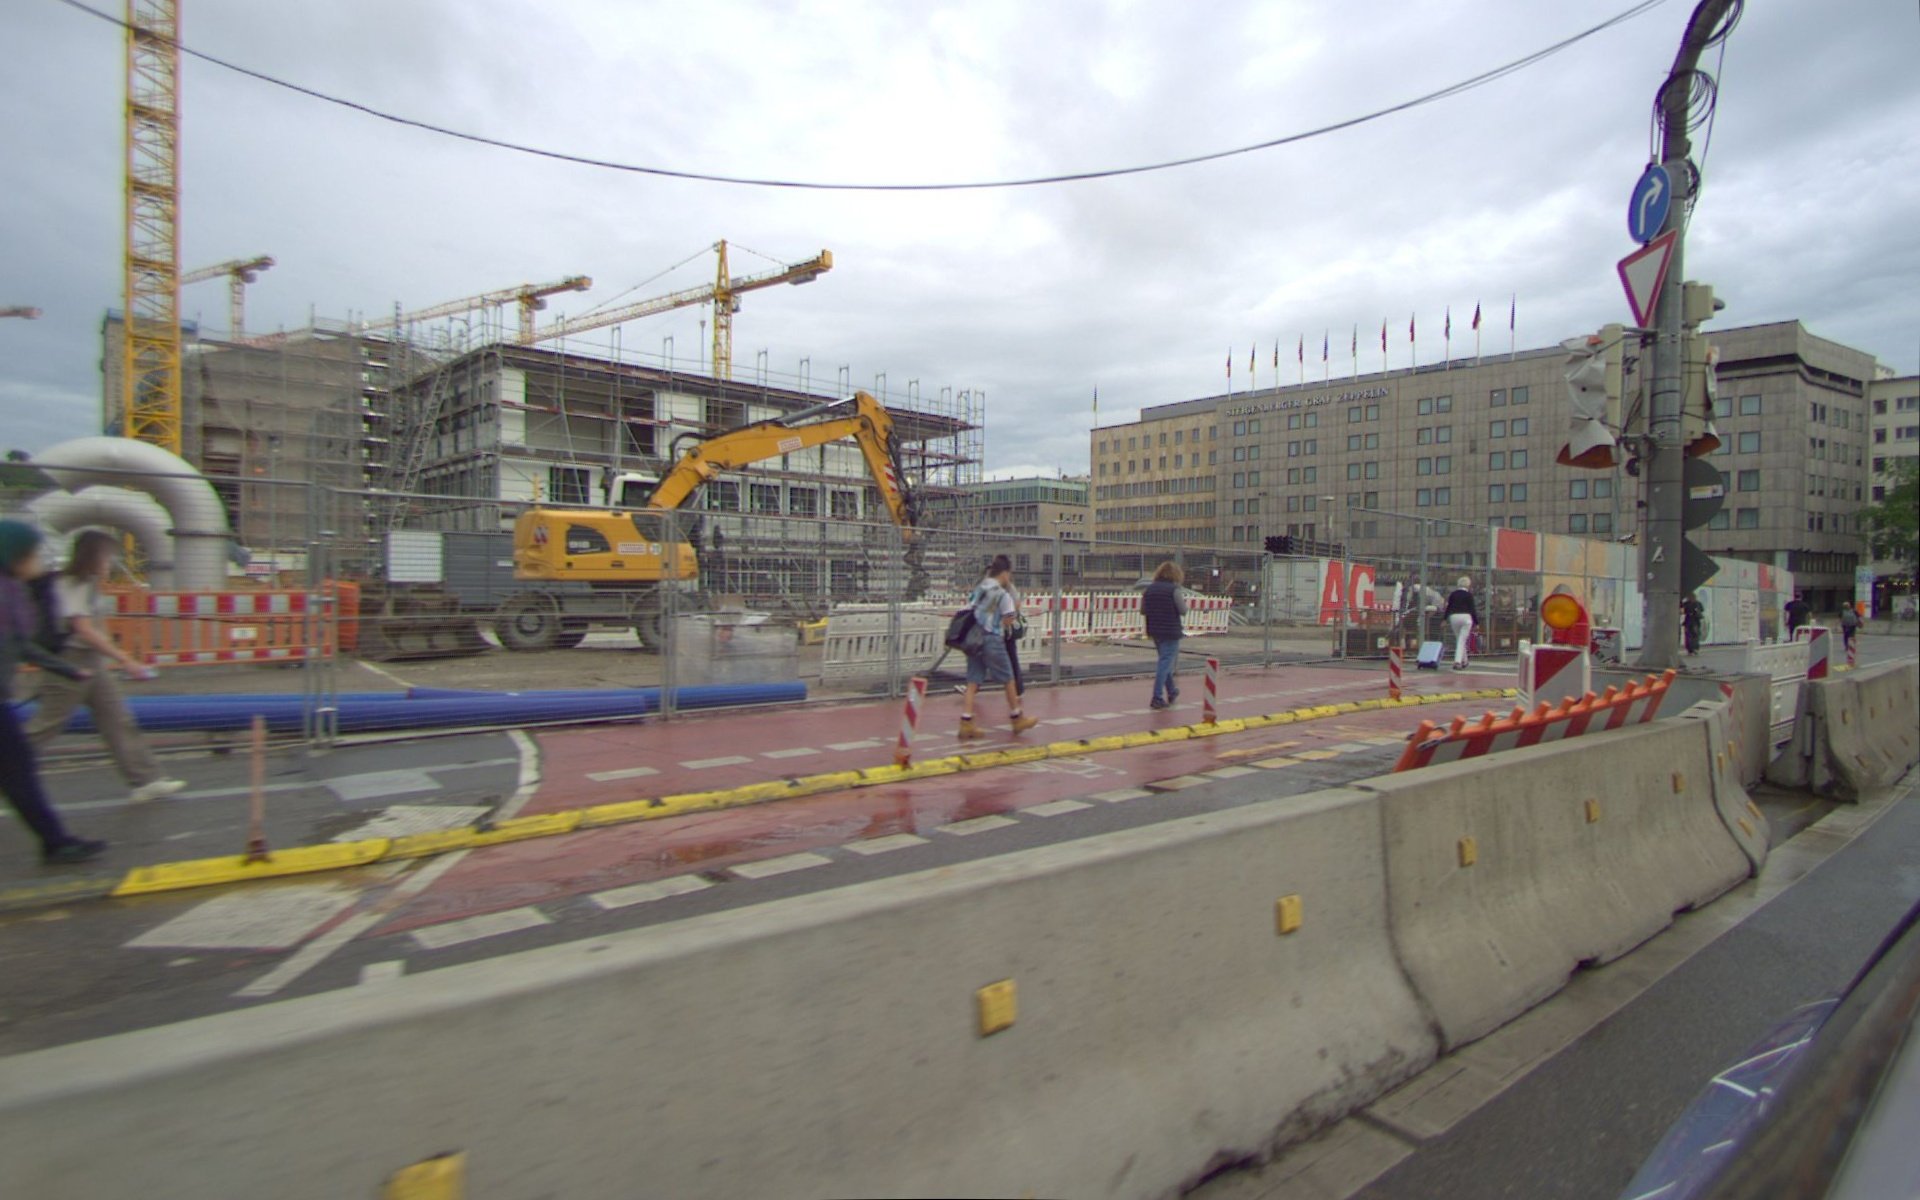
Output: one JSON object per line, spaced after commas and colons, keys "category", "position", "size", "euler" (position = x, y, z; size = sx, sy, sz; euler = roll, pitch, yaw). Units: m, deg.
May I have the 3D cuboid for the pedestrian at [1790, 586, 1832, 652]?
{"category": "pedestrian", "position": [24.934, 0.540, 29.651], "size": [0.805, 1.901, 0.798], "euler": [0, 0, -39]}

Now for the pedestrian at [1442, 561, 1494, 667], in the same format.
{"category": "pedestrian", "position": [9.303, 0.253, 18.522], "size": [0.672, 1.885, 0.665], "euler": [1, -1, -44]}

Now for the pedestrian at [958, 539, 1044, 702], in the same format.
{"category": "pedestrian", "position": [0.497, 0.235, 12.230], "size": [0.672, 1.885, 0.787], "euler": [1, -1, -44]}

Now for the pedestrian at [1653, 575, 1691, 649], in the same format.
{"category": "pedestrian", "position": [19.864, 0.337, 28.234], "size": [0.674, 2.039, 0.680], "euler": [2, -1, -39]}

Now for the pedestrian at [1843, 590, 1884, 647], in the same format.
{"category": "pedestrian", "position": [30.178, 0.605, 33.796], "size": [0.674, 1.857, 0.927], "euler": [0, 0, -38]}

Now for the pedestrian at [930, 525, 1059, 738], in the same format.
{"category": "pedestrian", "position": [0.329, 0.276, 9.575], "size": [0.934, 1.885, 0.779], "euler": [1, -1, -44]}

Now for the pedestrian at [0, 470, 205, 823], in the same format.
{"category": "pedestrian", "position": [-5.155, 0.248, 5.950], "size": [1.041, 1.885, 0.779], "euler": [1, -1, -44]}

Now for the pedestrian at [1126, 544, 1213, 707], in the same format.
{"category": "pedestrian", "position": [2.530, 0.296, 12.212], "size": [0.798, 1.885, 0.690], "euler": [1, -1, -44]}

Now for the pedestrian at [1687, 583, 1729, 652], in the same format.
{"category": "pedestrian", "position": [20.463, 0.466, 27.694], "size": [0.615, 1.857, 0.798], "euler": [0, 0, -39]}

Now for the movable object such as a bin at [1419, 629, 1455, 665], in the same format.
{"category": "movable object such as a bin", "position": [8.672, 0.846, 18.397], "size": [0.526, 0.632, 0.433], "euler": [1, 0, -44]}

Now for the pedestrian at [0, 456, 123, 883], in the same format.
{"category": "pedestrian", "position": [-4.580, 0.301, 4.741], "size": [0.933, 1.885, 0.870], "euler": [1, -1, -44]}

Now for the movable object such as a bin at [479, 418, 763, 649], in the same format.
{"category": "movable object such as a bin", "position": [-6.224, -1.041, 18.239], "size": [4.266, 3.536, 3.948], "euler": [1, 1, -27]}
